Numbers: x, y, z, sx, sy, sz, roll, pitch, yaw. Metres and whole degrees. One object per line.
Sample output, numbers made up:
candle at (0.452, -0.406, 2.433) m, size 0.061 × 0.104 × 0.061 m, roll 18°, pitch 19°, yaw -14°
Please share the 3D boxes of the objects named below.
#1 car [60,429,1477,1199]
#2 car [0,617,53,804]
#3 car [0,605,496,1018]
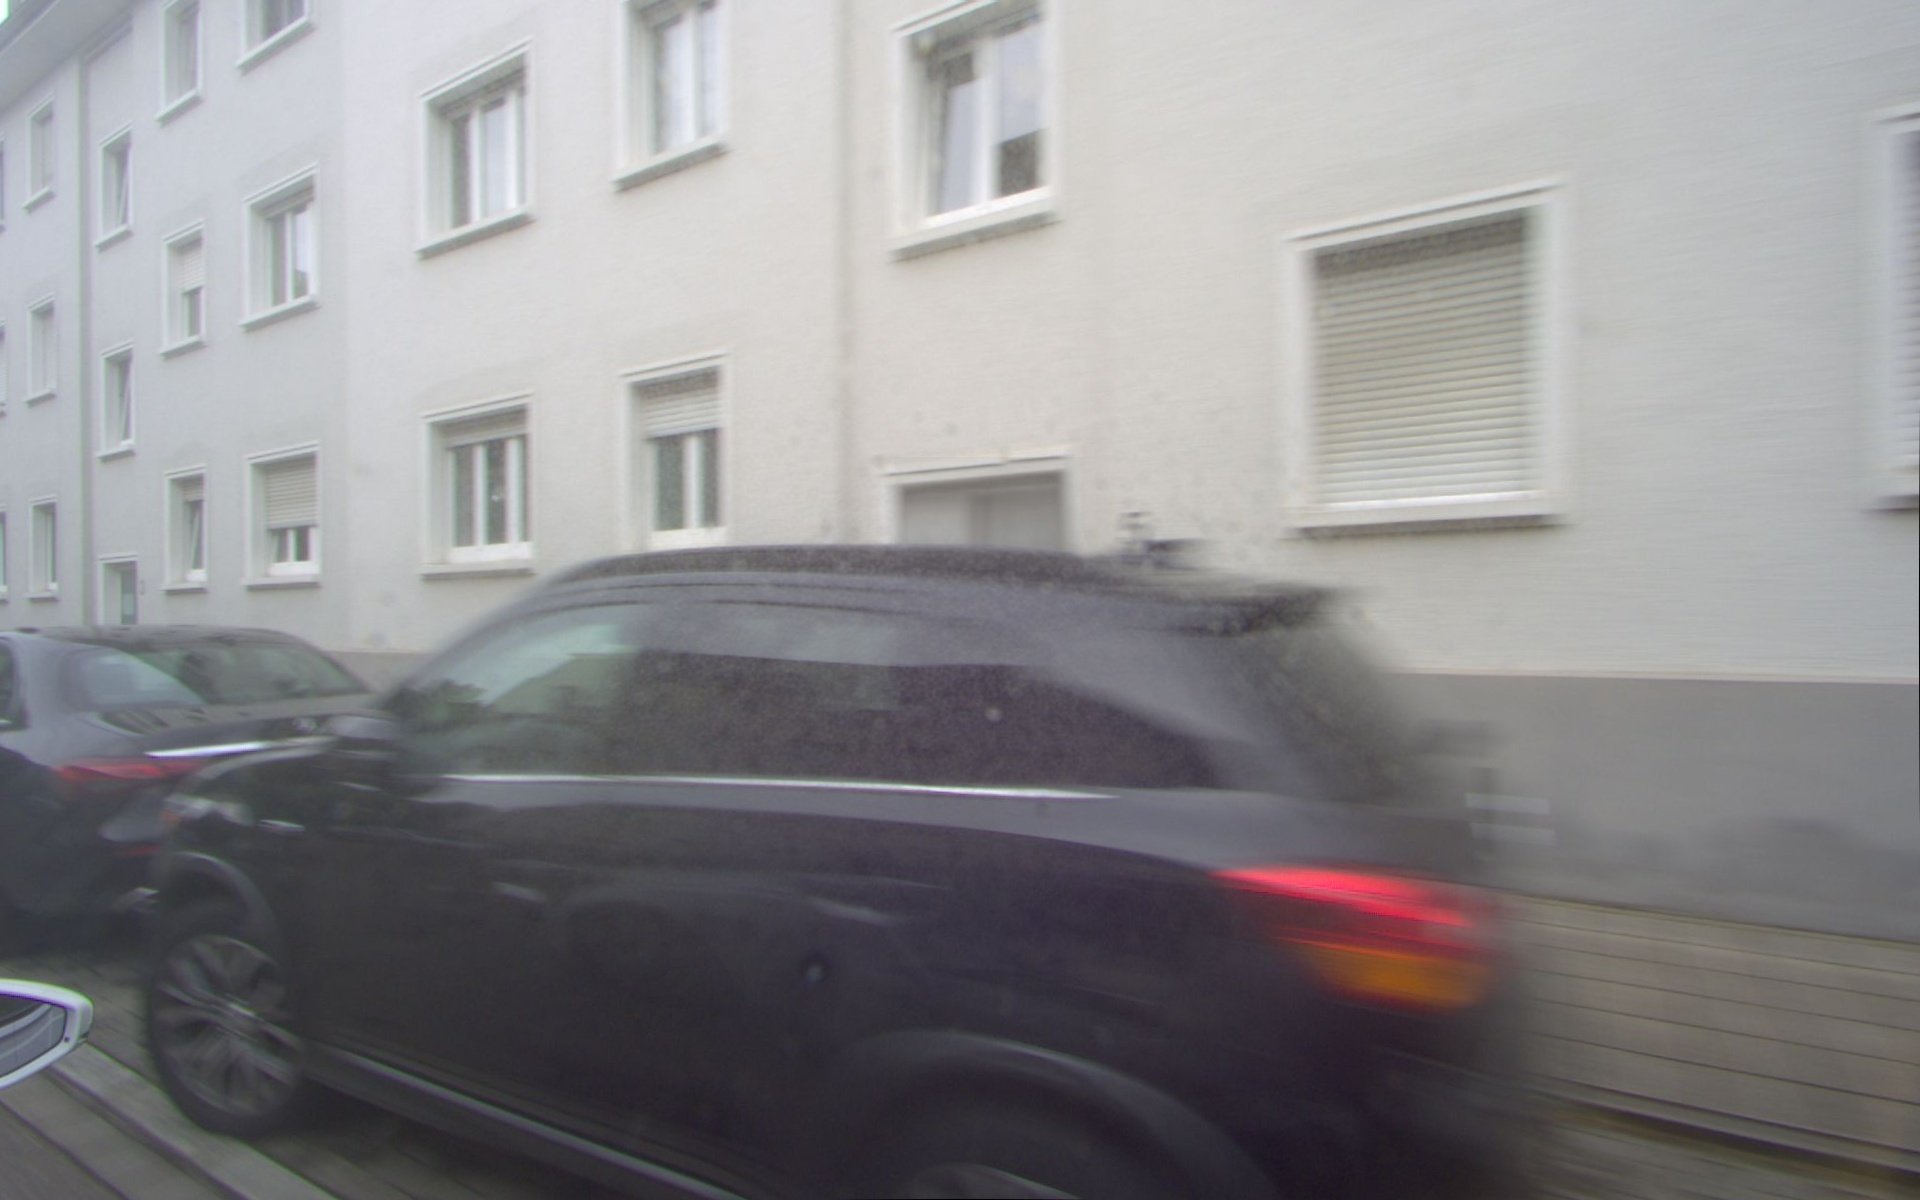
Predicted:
car at (-0.712, 0.633, 3.044) m, size 4.028 × 1.624 × 1.819 m, roll -1°, pitch -1°, yaw 29°
car at (-10.161, 0.921, 8.990) m, size 4.606 × 1.539 × 1.817 m, roll -1°, pitch -1°, yaw 32°
car at (-4.876, 0.830, 5.732) m, size 4.606 × 1.539 × 1.817 m, roll -1°, pitch -1°, yaw 32°
